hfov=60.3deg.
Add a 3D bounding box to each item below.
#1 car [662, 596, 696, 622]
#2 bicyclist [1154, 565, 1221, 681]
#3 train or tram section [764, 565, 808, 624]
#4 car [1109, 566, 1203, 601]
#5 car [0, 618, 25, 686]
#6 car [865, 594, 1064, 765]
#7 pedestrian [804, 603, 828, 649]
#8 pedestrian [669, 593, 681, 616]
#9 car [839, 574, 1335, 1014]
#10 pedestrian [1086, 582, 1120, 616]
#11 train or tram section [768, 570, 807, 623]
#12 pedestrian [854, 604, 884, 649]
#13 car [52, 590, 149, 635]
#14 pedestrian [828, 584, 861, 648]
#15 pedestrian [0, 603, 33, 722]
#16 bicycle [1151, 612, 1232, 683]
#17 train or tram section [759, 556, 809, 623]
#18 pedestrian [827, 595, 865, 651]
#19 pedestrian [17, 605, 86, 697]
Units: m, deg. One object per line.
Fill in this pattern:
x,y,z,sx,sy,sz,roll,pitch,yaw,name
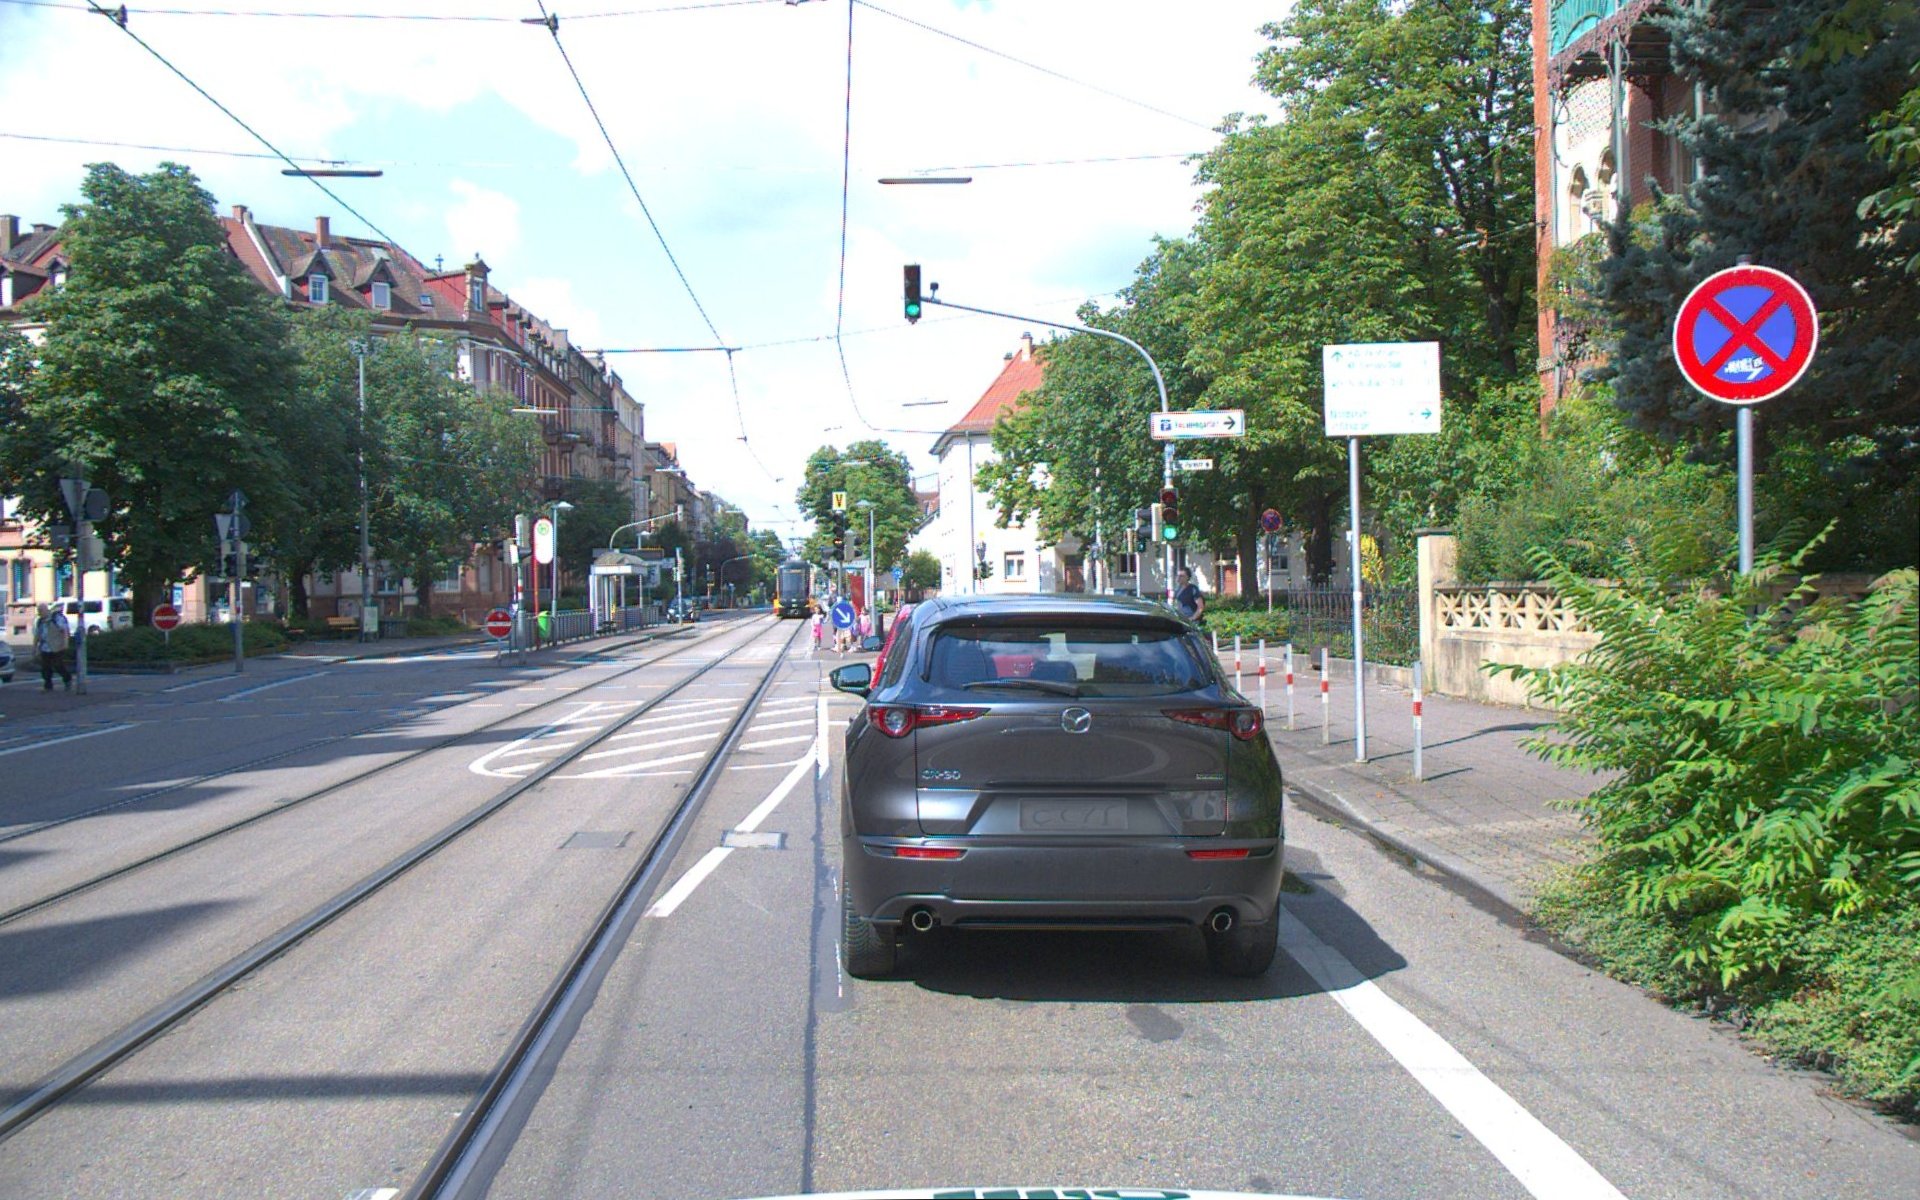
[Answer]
-16.441,0.518,96.955,1.593,1.411,3.433,-3,1,-4,car
3.694,0.366,26.890,0.724,1.851,0.813,-1,0,-27,bicyclist
-12.794,-0.305,122.237,2.939,4.053,13.791,-1,-1,-6,train or tram section
9.347,-0.793,78.982,4.091,1.536,1.844,-1,2,38,car
-22.477,1.169,36.708,3.800,1.445,1.713,-1,0,39,car
-0.059,0.697,16.425,1.740,1.489,3.840,0,0,-3,car
-3.666,0.668,42.124,0.432,1.127,0.419,-3,0,-27,pedestrian
-21.208,0.312,123.250,0.772,1.718,0.731,-1,0,-3,pedestrian
0.439,0.697,7.892,1.746,1.540,3.999,1,0,-1,car
5.682,-0.035,65.850,1.170,1.291,0.556,-3,0,-10,pedestrian
-14.124,-0.206,135.914,2.939,4.053,13.791,-1,-1,-6,train or tram section
-2.317,0.683,42.302,0.435,1.133,0.640,-1,0,37,pedestrian
-39.948,0.586,76.908,3.853,2.023,1.857,-1,0,19,car
-2.929,0.399,41.889,0.714,1.593,0.797,-1,0,-9,pedestrian
-14.585,0.927,24.880,0.741,1.734,0.873,3,0,-5,pedestrian
3.792,0.763,27.006,0.382,1.053,1.836,-1,1,39,bicycle
-11.477,-0.540,108.458,2.939,4.053,13.791,-1,-1,-6,train or tram section
-2.840,0.567,41.082,0.810,1.326,0.716,-3,0,-9,pedestrian
-17.239,0.956,31.399,0.837,1.702,0.821,-1,0,-3,pedestrian
